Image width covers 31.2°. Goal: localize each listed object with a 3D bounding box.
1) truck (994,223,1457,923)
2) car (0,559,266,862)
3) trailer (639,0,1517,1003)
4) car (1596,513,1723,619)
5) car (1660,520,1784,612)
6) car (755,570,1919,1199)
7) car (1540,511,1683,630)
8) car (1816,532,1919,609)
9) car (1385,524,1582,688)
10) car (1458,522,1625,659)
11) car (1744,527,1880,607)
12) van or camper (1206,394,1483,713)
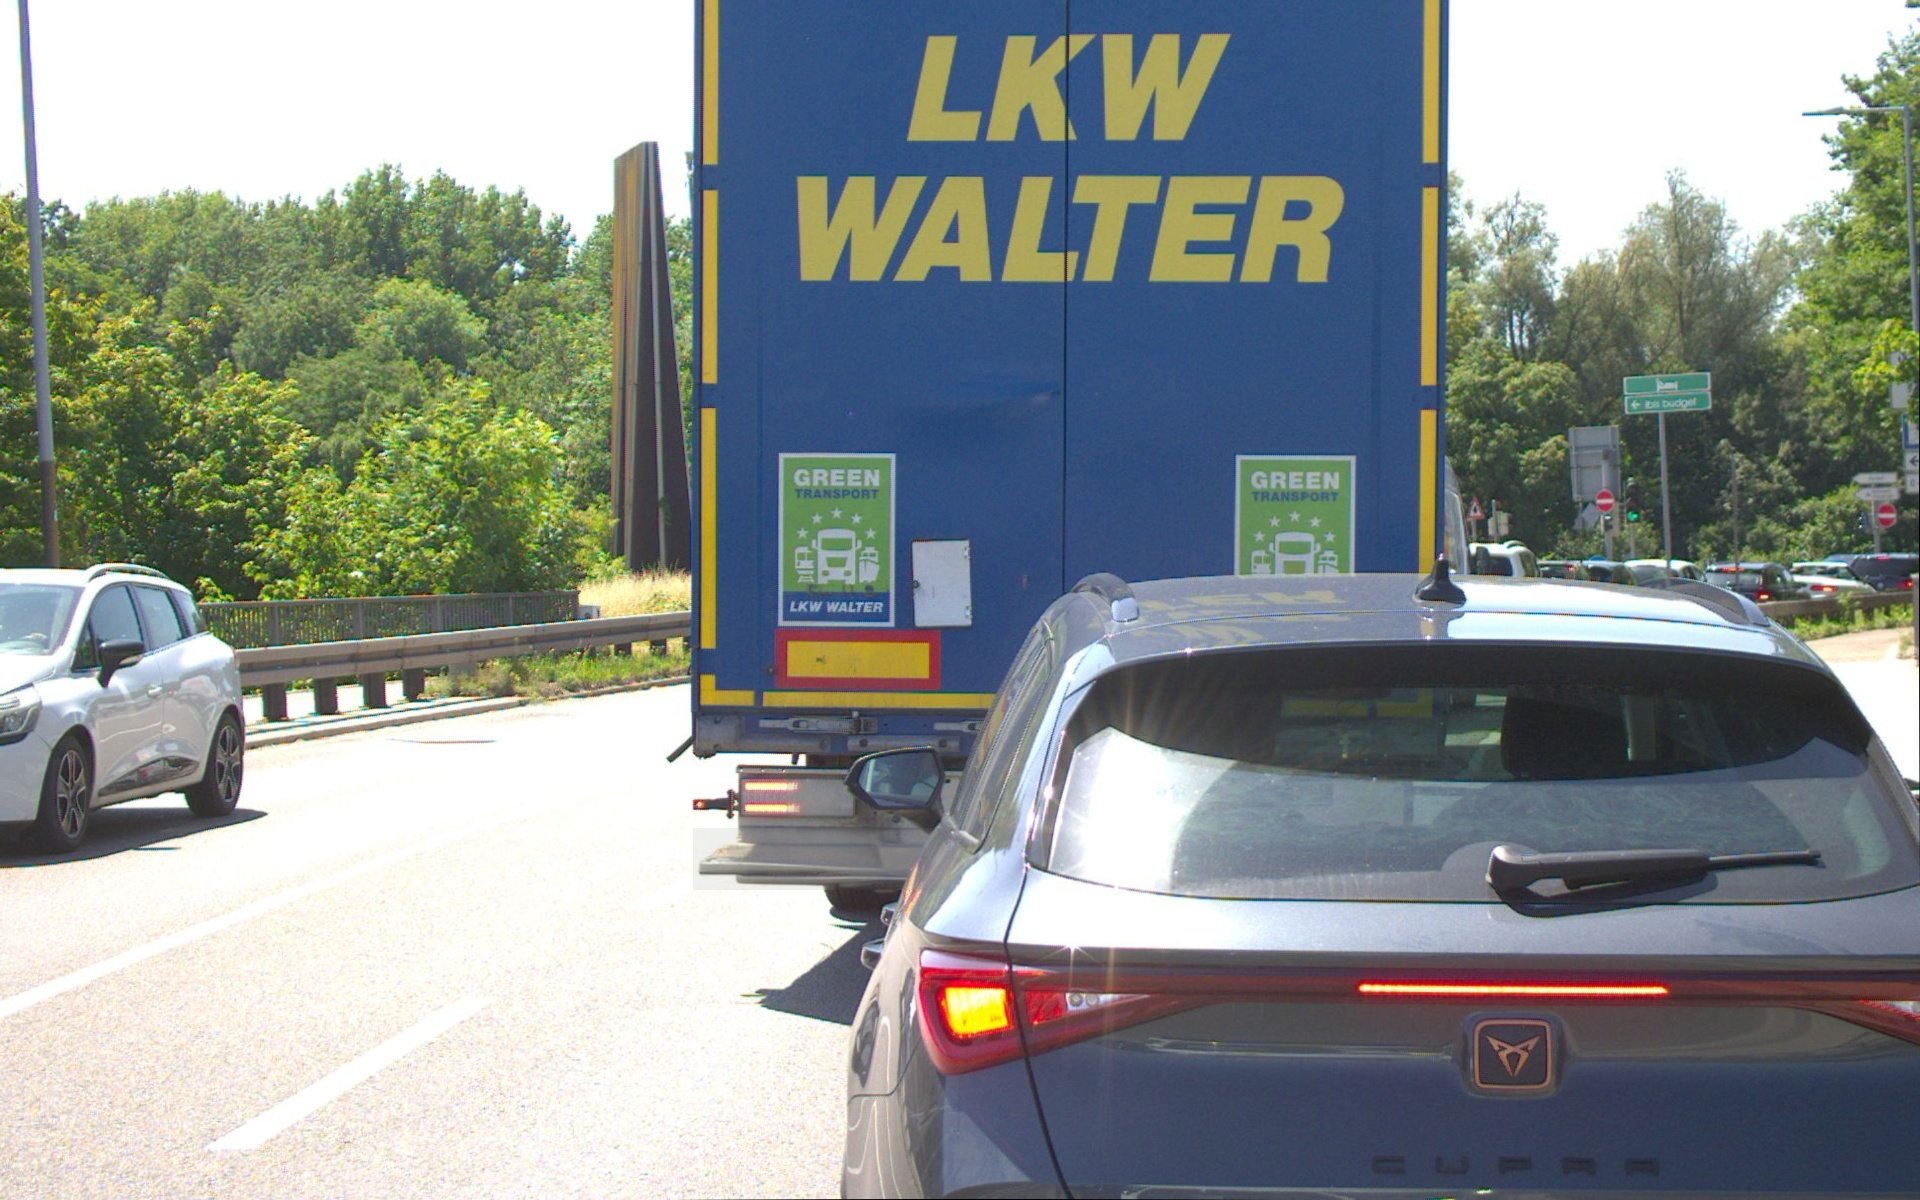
[{"bbox_3d":[2.087,-0.236,25.051,2.905,4.403,6.554,0,1,7],"label":"truck"},{"bbox_3d":[-5.146,0.504,18.514,1.599,1.444,4.055,0,1,6],"label":"car"},{"bbox_3d":[1.144,-1.006,17.560,2.905,4.403,12.430,0,1,7],"label":"trailer"},{"bbox_3d":[12.543,-0.634,61.503,1.722,1.837,3.996,0,1,19],"label":"car"},{"bbox_3d":[15.127,-0.665,68.155,1.687,1.754,3.995,0,0,23],"label":"car"},{"bbox_3d":[0.663,0.688,5.936,1.677,1.451,3.958,0,1,2],"label":"car"},{"bbox_3d":[10.536,-0.501,55.438,1.722,1.837,3.996,0,1,19],"label":"car"},{"bbox_3d":[21.368,-0.671,80.364,1.688,1.754,3.994,0,0,28],"label":"car"},{"bbox_3d":[6.286,0.025,40.998,1.722,1.837,3.997,0,2,18],"label":"car"},{"bbox_3d":[8.048,-0.167,47.315,1.722,1.796,3.997,0,1,18],"label":"car"},{"bbox_3d":[18.467,-0.704,74.406,1.996,1.570,3.994,2,0,26],"label":"car"},{"bbox_3d":[3.874,-0.471,33.616,2.155,2.806,6.384,0,1,11],"label":"van or camper"}]
